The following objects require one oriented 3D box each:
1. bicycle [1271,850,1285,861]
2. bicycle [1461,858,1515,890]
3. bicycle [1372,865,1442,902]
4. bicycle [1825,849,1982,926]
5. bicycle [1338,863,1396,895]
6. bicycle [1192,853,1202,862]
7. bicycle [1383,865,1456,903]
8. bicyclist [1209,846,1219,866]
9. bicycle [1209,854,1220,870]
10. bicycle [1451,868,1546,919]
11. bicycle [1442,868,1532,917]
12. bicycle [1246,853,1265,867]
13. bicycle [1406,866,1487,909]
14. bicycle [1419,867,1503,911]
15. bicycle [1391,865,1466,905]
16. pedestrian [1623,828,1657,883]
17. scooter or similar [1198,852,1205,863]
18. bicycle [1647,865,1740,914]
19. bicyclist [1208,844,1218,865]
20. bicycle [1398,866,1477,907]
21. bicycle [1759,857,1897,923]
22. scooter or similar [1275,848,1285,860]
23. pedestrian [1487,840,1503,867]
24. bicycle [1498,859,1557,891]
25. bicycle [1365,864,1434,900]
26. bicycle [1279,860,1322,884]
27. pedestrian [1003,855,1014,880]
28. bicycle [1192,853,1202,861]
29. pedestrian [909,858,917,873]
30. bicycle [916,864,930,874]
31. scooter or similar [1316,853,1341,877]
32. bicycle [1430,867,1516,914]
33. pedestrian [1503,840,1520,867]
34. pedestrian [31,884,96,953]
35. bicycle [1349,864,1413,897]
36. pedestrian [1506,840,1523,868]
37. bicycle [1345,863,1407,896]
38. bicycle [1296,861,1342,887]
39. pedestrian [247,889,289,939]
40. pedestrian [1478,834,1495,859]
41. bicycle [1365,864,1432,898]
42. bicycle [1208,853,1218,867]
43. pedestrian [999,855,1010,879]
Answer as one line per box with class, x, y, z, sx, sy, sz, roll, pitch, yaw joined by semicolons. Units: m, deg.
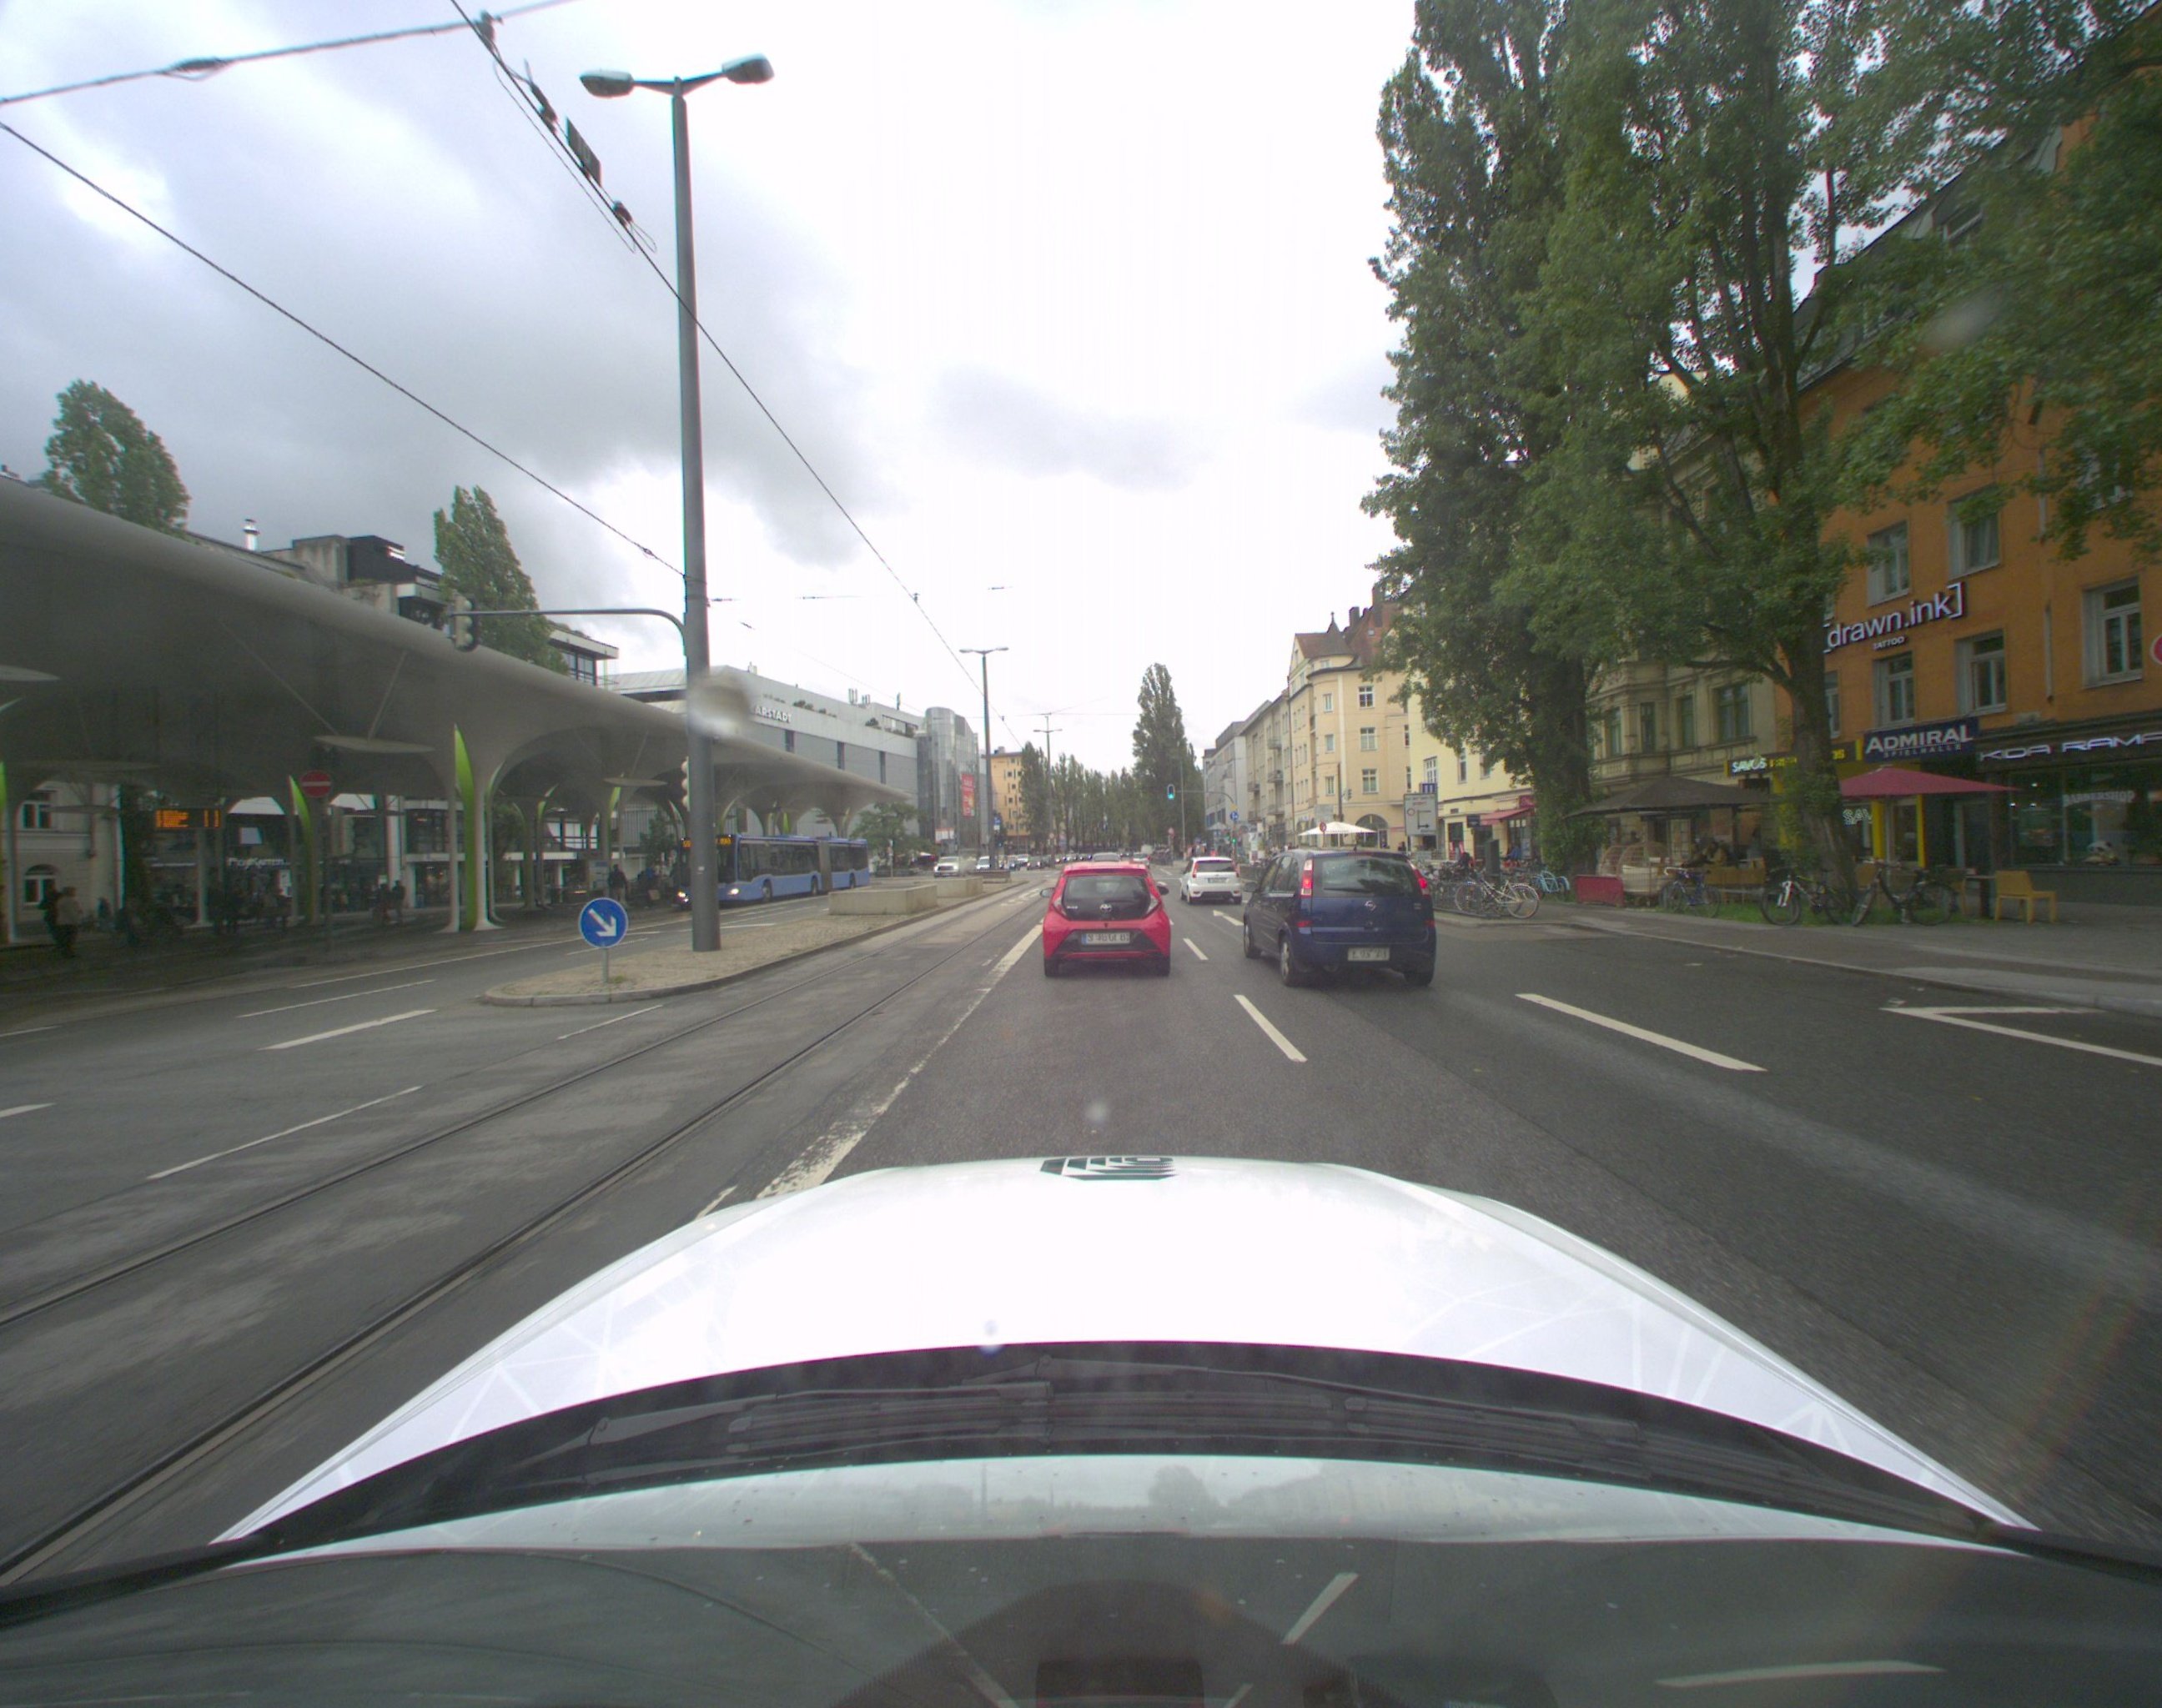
bicycle;19.054;0.147;78.726;0.495;1.059;1.858;-2;0;-13
bicycle;14.132;0.706;28.289;1.719;1.045;0.387;-1;1;-5
bicycle;9.212;0.813;23.065;1.818;0.995;0.378;0;1;39
bicycle;13.430;0.541;13.326;1.879;1.174;0.582;-2;0;3
bicycle;9.288;0.805;26.508;1.819;0.995;0.327;0;2;44
bicycle;14.245;0.429;99.813;1.175;0.963;0.370;-2;0;6
bicycle;9.299;0.815;22.425;1.818;0.995;0.378;0;1;39
bicyclist;11.225;0.177;68.580;0.611;1.657;1.252;-2;0;3
bicycle;11.229;0.676;68.498;0.611;1.265;2.521;-2;0;3
bicycle;8.962;0.827;17.539;0.377;0.995;1.821;-2;2;-37
bicycle;9.032;0.825;18.179;0.377;0.995;1.821;-2;2;-37
bicycle;15.878;0.584;74.020;1.561;1.160;0.525;-3;2;4
bicycle;9.120;0.820;20.386;1.819;0.995;0.377;0;2;44
bicycle;9.131;0.822;19.636;0.377;0.995;1.820;-2;2;-43
bicycle;9.232;0.817;21.689;0.377;0.995;1.819;-2;2;-44
pedestrian;18.133;0.054;26.412;0.598;1.739;0.666;-2;0;2
scooter or similar;13.624;0.389;92.152;0.297;1.176;1.285;-2;0;32
bicycle;12.282;0.686;16.406;0.455;0.892;1.894;-2;0;1
bicyclist;11.934;0.065;73.675;0.759;1.869;1.133;-2;0;3
bicycle;9.205;0.818;21.066;1.818;0.995;0.378;0;2;40
bicycle;12.965;0.617;14.162;1.879;1.054;0.459;-2;0;3
scooter or similar;18.393;-0.004;75.243;0.816;0.994;0.594;-3;3;4
pedestrian;20.524;-0.024;40.343;0.493;1.289;0.552;-2;0;2
bicycle;15.015;0.708;27.410;1.711;1.045;0.389;-1;1;12
bicycle;9.296;0.811;23.811;1.818;0.995;0.378;0;1;39
bicycle;9.435;0.787;35.103;0.350;0.996;1.819;-2;-1;-44
pedestrian;-4.871;0.891;54.478;0.466;1.618;0.515;-2;0;-45
bicycle;14.261;0.409;100.357;1.177;0.963;0.369;-2;0;0
pedestrian;-19.560;1.358;95.039;0.752;1.773;0.767;-2;0;-21
bicycle;-17.825;1.673;91.845;1.566;1.112;0.374;-2;0;5
scooter or similar;11.660;0.506;38.456;0.773;1.075;1.256;-2;0;0
bicycle;9.082;0.823;18.942;0.377;0.995;1.821;-2;2;-37
pedestrian;21.374;-0.024;40.426;0.493;1.289;0.552;-2;0;2
pedestrian;-27.582;1.744;22.085;0.759;1.789;0.783;-2;0;5
bicycle;9.277;0.808;25.231;1.818;0.995;0.327;0;1;39
pedestrian;21.034;-0.019;39.512;0.493;1.332;0.552;-2;0;2
bicycle;9.362;0.806;25.854;1.818;0.995;0.327;0;1;34
bicycle;9.584;0.792;32.868;1.819;0.995;0.327;0;2;42
pedestrian;-27.593;2.024;27.642;0.643;1.618;0.701;-2;0;6
pedestrian;22.438;-0.418;45.062;0.543;1.397;0.548;-2;0;-25
bicycle;9.539;0.805;24.497;1.819;0.995;0.377;-1;1;26
bicycle;11.927;0.540;73.684;0.611;1.265;2.521;-2;0;3
pedestrian;-5.142;0.892;54.773;0.489;1.618;0.552;-2;0;-33
